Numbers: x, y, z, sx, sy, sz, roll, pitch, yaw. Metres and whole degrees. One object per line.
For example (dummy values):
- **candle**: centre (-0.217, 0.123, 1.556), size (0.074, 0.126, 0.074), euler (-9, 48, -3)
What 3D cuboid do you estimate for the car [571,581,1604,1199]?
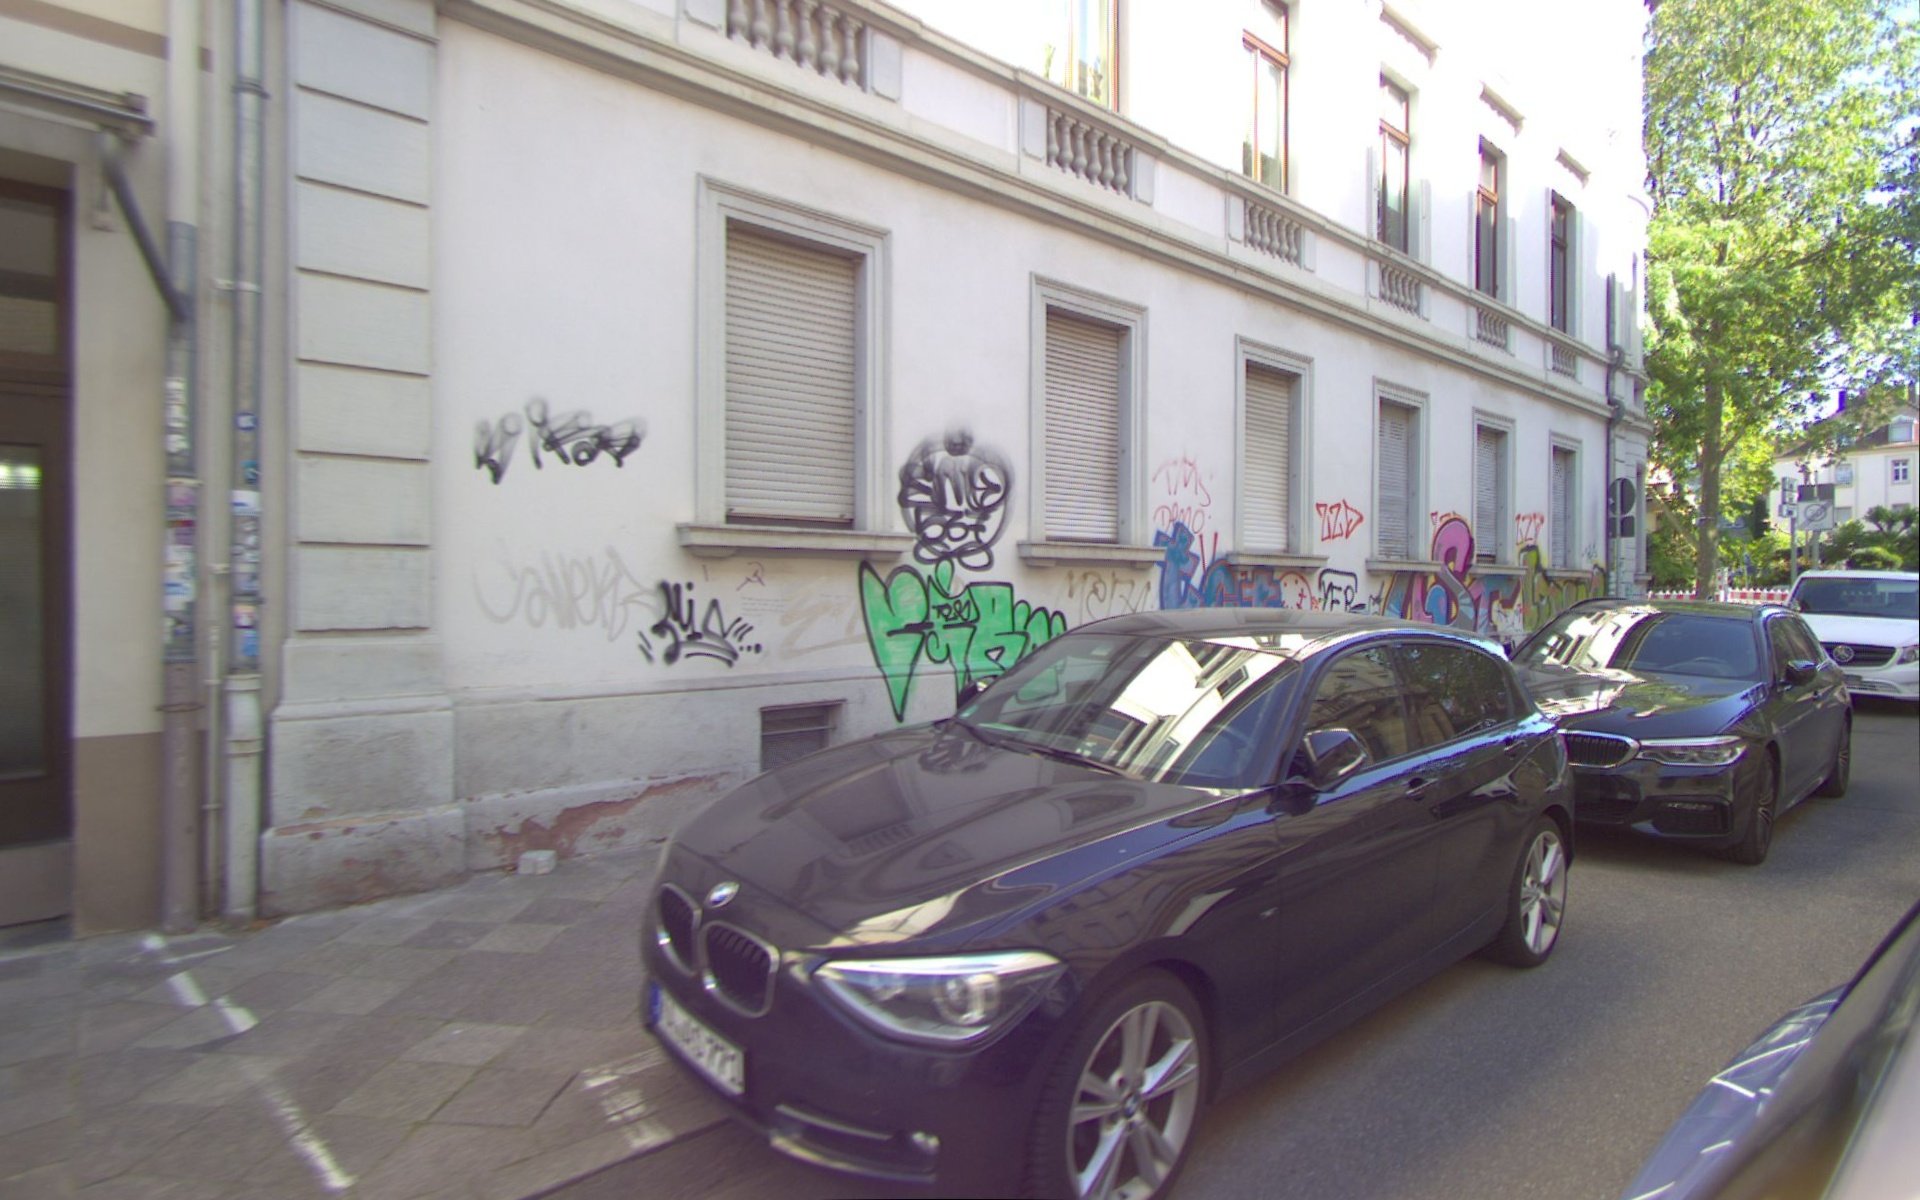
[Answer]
- **car**: centre (0.765, 0.722, 3.795), size (3.802, 1.467, 1.749), euler (0, -2, -41)

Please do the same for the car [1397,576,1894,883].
- **car**: centre (5.150, 0.673, 7.312), size (4.645, 1.539, 1.817), euler (0, -2, -41)

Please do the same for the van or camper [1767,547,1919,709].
- **van or camper**: centre (13.521, 0.345, 14.857), size (4.946, 2.039, 1.896), euler (0, 0, -43)
